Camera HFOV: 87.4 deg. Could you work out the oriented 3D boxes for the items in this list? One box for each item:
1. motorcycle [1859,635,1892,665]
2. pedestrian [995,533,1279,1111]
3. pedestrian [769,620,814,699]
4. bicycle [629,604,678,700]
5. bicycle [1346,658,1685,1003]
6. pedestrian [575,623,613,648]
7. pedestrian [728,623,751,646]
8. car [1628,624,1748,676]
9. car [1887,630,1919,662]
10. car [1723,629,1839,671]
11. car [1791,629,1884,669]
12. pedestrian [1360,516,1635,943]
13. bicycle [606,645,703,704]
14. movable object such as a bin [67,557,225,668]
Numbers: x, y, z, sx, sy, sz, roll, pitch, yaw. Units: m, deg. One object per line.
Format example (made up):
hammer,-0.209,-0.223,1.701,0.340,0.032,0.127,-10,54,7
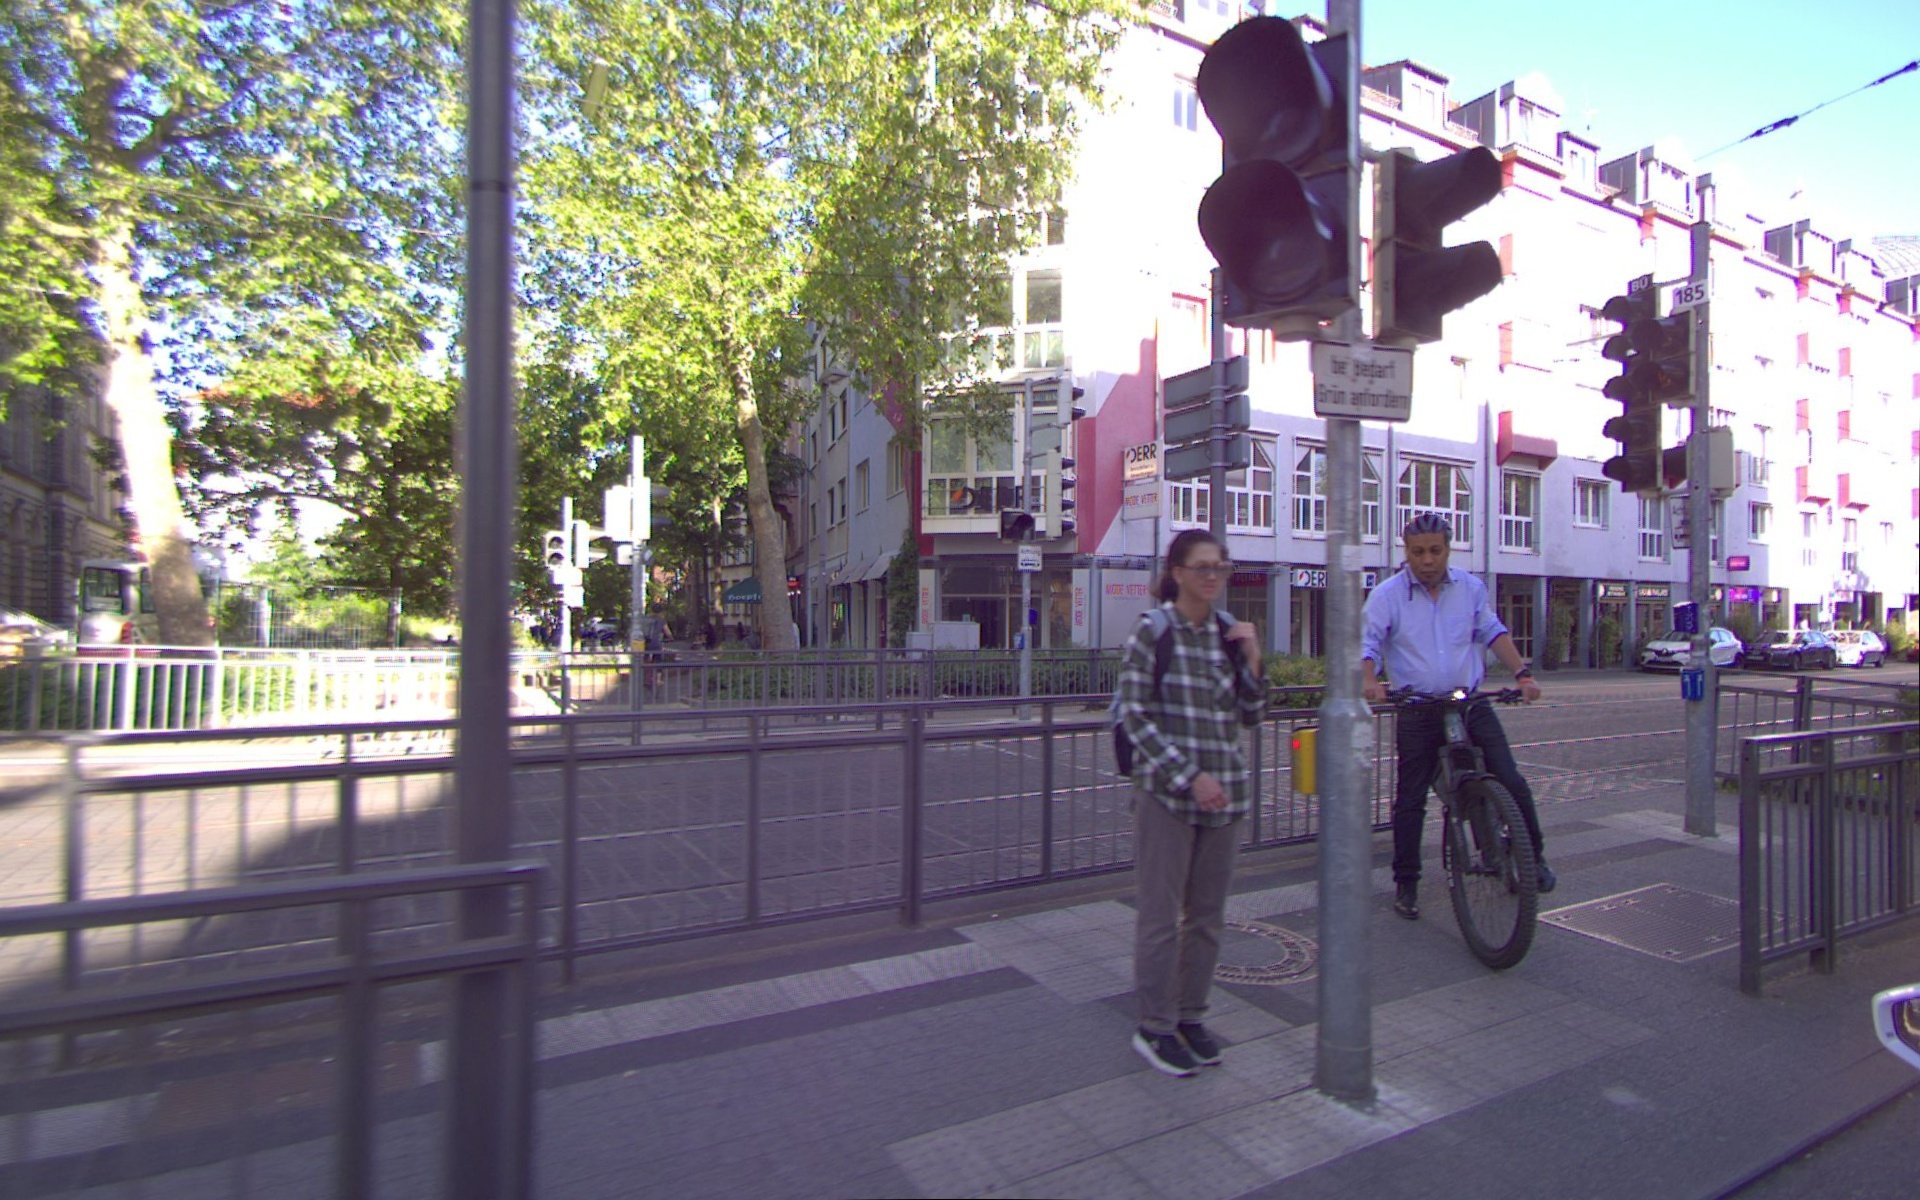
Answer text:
motorcycle,41.819,2.268,45.855,2.058,1.315,0.516,1,1,-31
pedestrian,0.558,0.611,3.182,0.661,1.612,0.513,1,3,-39
pedestrian,-3.623,1.273,21.657,0.678,1.658,0.675,0,-1,27
bicycle,-5.696,0.944,18.658,0.574,1.738,0.645,0,-1,37
bicycle,2.462,0.927,4.761,0.587,1.109,1.945,2,2,4
pedestrian,-15.326,1.495,42.024,1.256,1.008,1.240,1,-1,-32
pedestrian,-10.599,1.656,48.286,0.827,1.057,0.635,1,-1,-45
car,24.889,1.674,34.311,4.323,1.635,1.906,1,-1,-33
car,44.792,2.116,46.153,4.766,1.343,1.950,1,1,-31
car,30.821,1.847,37.686,4.771,1.477,1.892,1,-1,-31
car,35.262,1.940,40.344,4.162,1.494,1.741,1,-1,-33
pedestrian,2.462,0.562,4.689,0.923,1.846,0.595,1,1,3
bicycle,-5.670,1.352,18.583,2.137,0.979,0.644,0,-1,40
movable object such as a bin,-16.073,0.252,19.965,1.153,2.040,2.648,0,-1,-6
